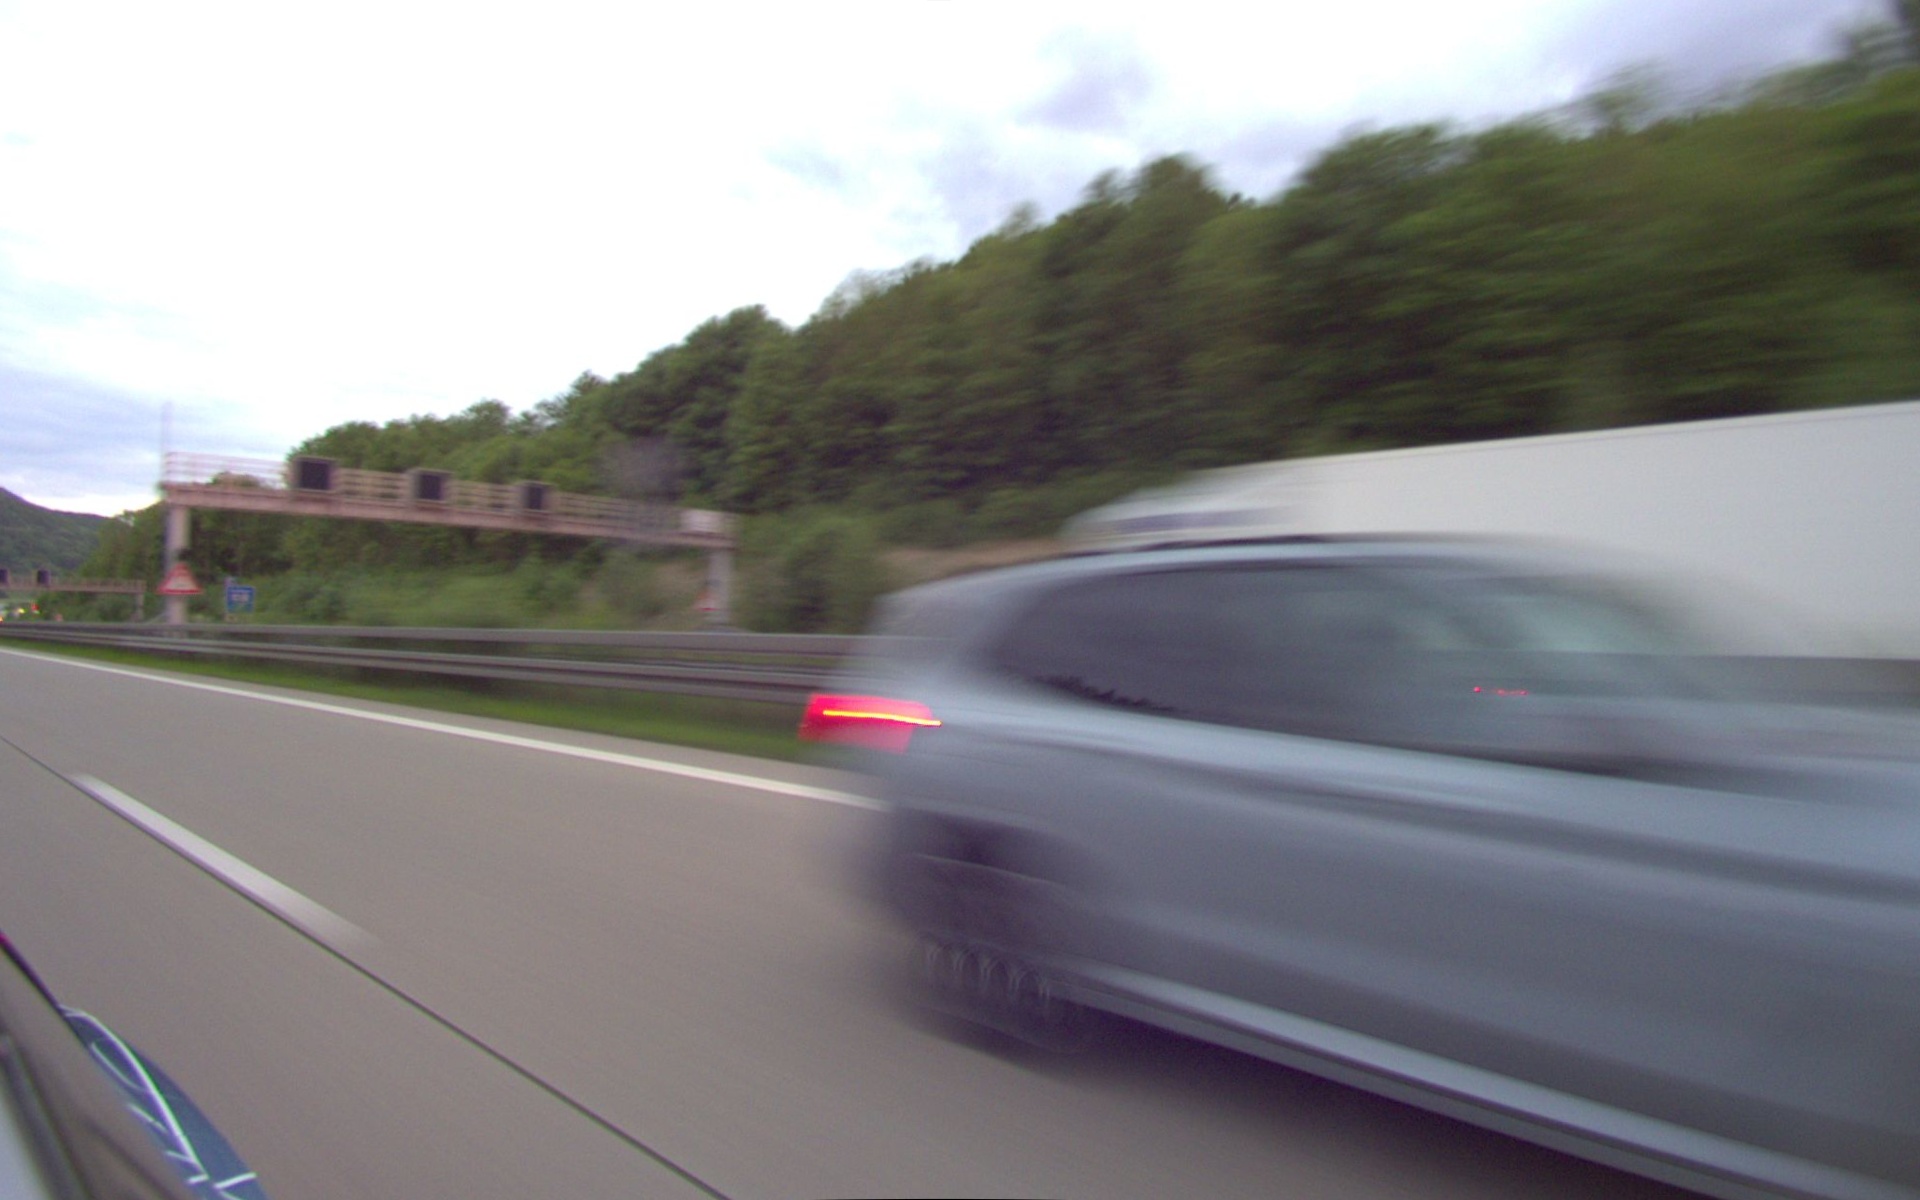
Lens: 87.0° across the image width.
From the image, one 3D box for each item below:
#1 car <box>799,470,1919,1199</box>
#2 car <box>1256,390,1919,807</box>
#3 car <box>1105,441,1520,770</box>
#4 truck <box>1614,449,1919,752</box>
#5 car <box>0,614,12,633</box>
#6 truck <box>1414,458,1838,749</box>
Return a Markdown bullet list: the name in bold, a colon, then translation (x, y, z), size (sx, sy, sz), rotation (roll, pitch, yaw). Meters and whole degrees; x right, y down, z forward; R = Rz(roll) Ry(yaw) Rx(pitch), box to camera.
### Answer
- **car**: translation (2.130, 0.614, 2.625), size (5.636, 1.672, 1.870), rotation (-1, -1, 41)
- **car**: translation (10.820, 0.002, 12.429), size (13.903, 4.521, 2.769), rotation (-1, -1, 41)
- **car**: translation (5.692, 0.123, 16.891), size (5.926, 4.521, 2.769), rotation (-1, -1, 41)
- **truck**: translation (16.751, -0.017, 13.119), size (13.595, 4.242, 2.865), rotation (-1, -2, 42)
- **car**: translation (-124.611, 3.087, 130.985), size (6.715, 2.377, 2.115), rotation (-1, -1, 41)
- **truck**: translation (11.503, 0.109, 17.787), size (5.862, 4.242, 2.826), rotation (-1, -2, 42)
